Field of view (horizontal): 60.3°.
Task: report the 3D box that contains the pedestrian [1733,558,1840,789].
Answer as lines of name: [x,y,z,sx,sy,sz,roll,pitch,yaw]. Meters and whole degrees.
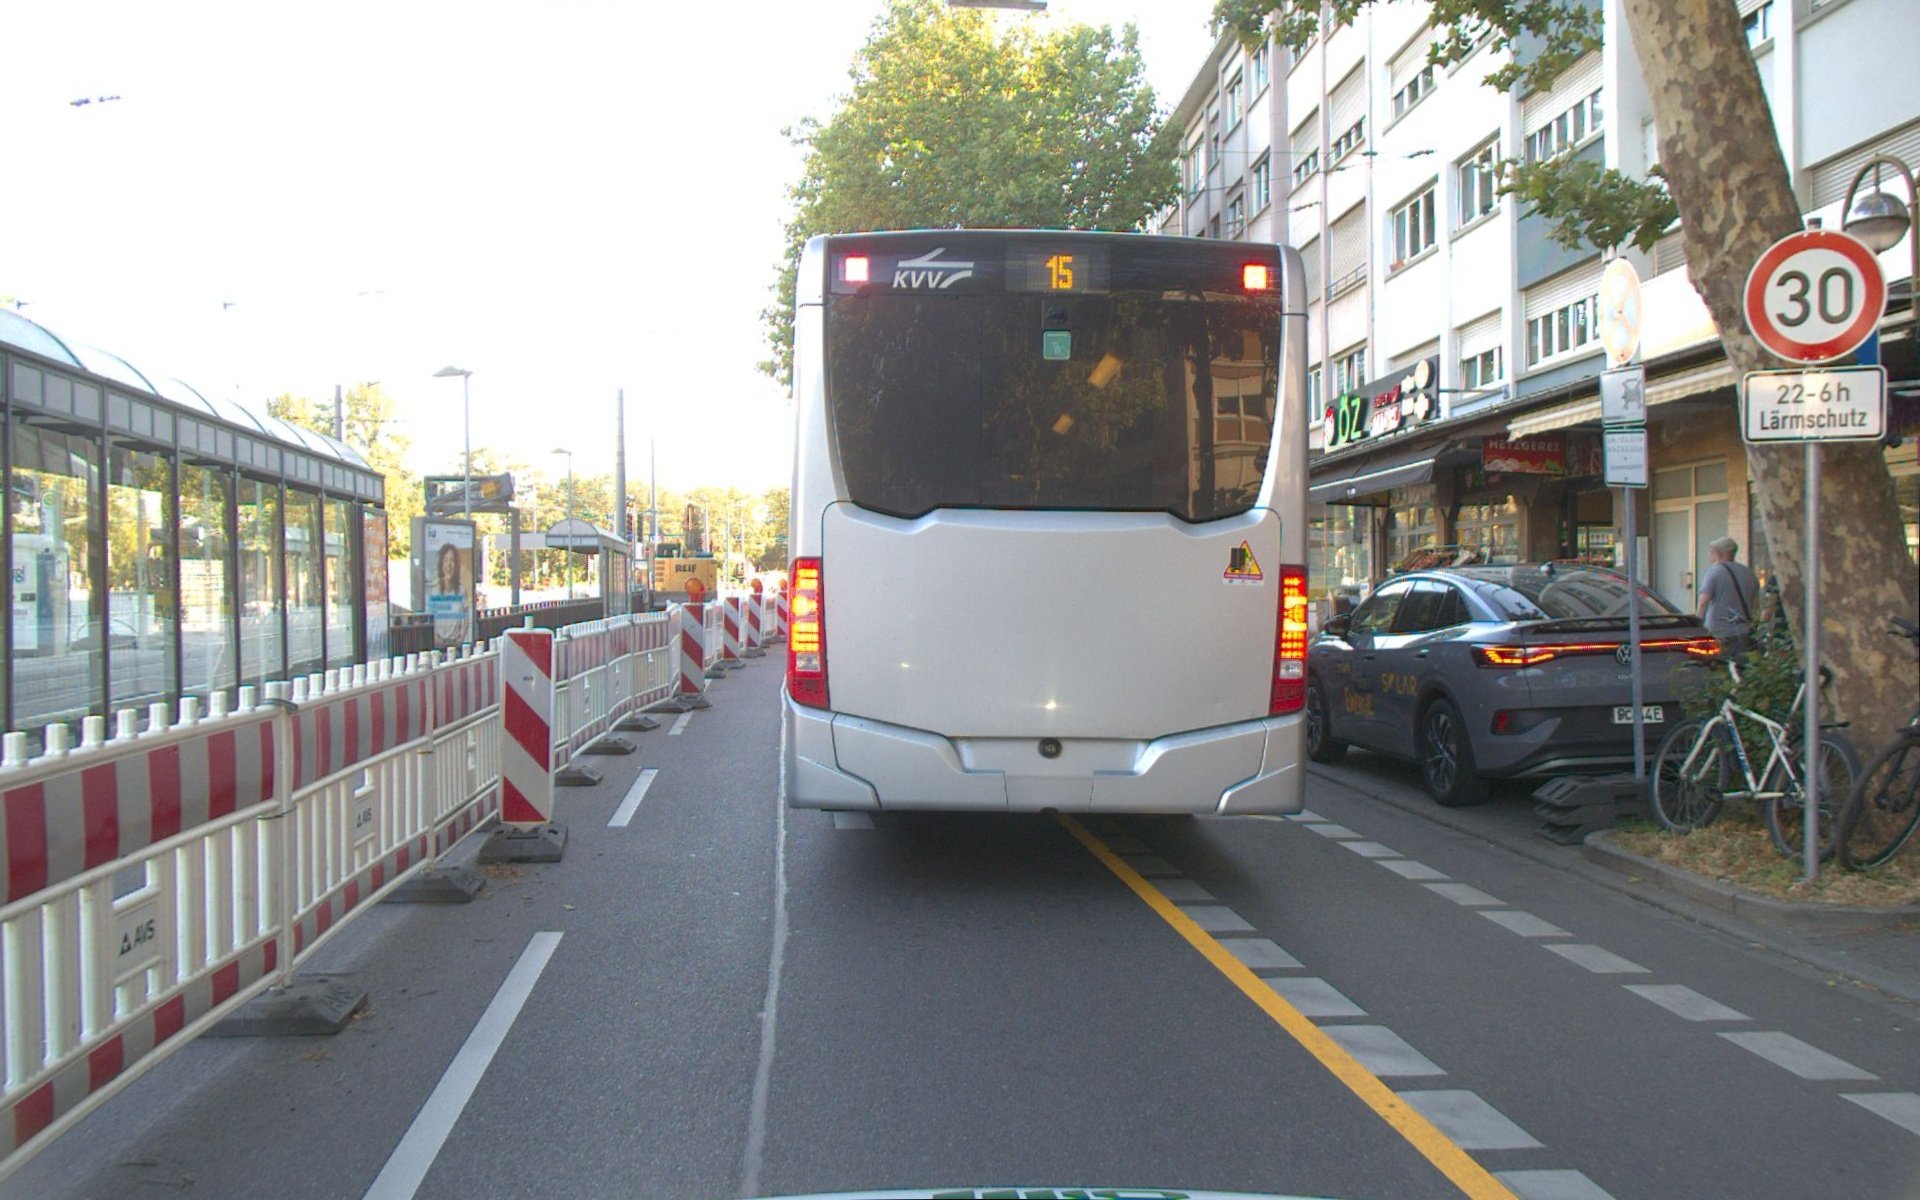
pedestrian: [7.511,0.651,15.059,0.600,2.049,0.696,-1,0,-2]

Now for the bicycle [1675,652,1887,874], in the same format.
bicycle: [4.128,0.787,8.376,0.289,0.943,1.127,-5,3,-12]

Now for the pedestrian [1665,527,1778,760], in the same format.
pedestrian: [6.848,0.380,14.901,0.677,2.049,0.696,-1,0,-2]

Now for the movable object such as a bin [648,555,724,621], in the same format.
movable object such as a bin: [-10.775,-0.483,65.407,2.753,2.505,3.994,0,0,-7]

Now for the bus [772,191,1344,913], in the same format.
bus: [0.411,-0.238,12.561,2.555,3.225,10.290,0,0,0]

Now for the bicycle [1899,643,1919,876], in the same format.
bicycle: [5.176,0.711,7.614,1.429,1.084,0.296,-4,3,10]

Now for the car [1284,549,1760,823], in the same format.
car: [3.960,0.513,12.518,1.707,1.625,4.293,-3,1,-6]
